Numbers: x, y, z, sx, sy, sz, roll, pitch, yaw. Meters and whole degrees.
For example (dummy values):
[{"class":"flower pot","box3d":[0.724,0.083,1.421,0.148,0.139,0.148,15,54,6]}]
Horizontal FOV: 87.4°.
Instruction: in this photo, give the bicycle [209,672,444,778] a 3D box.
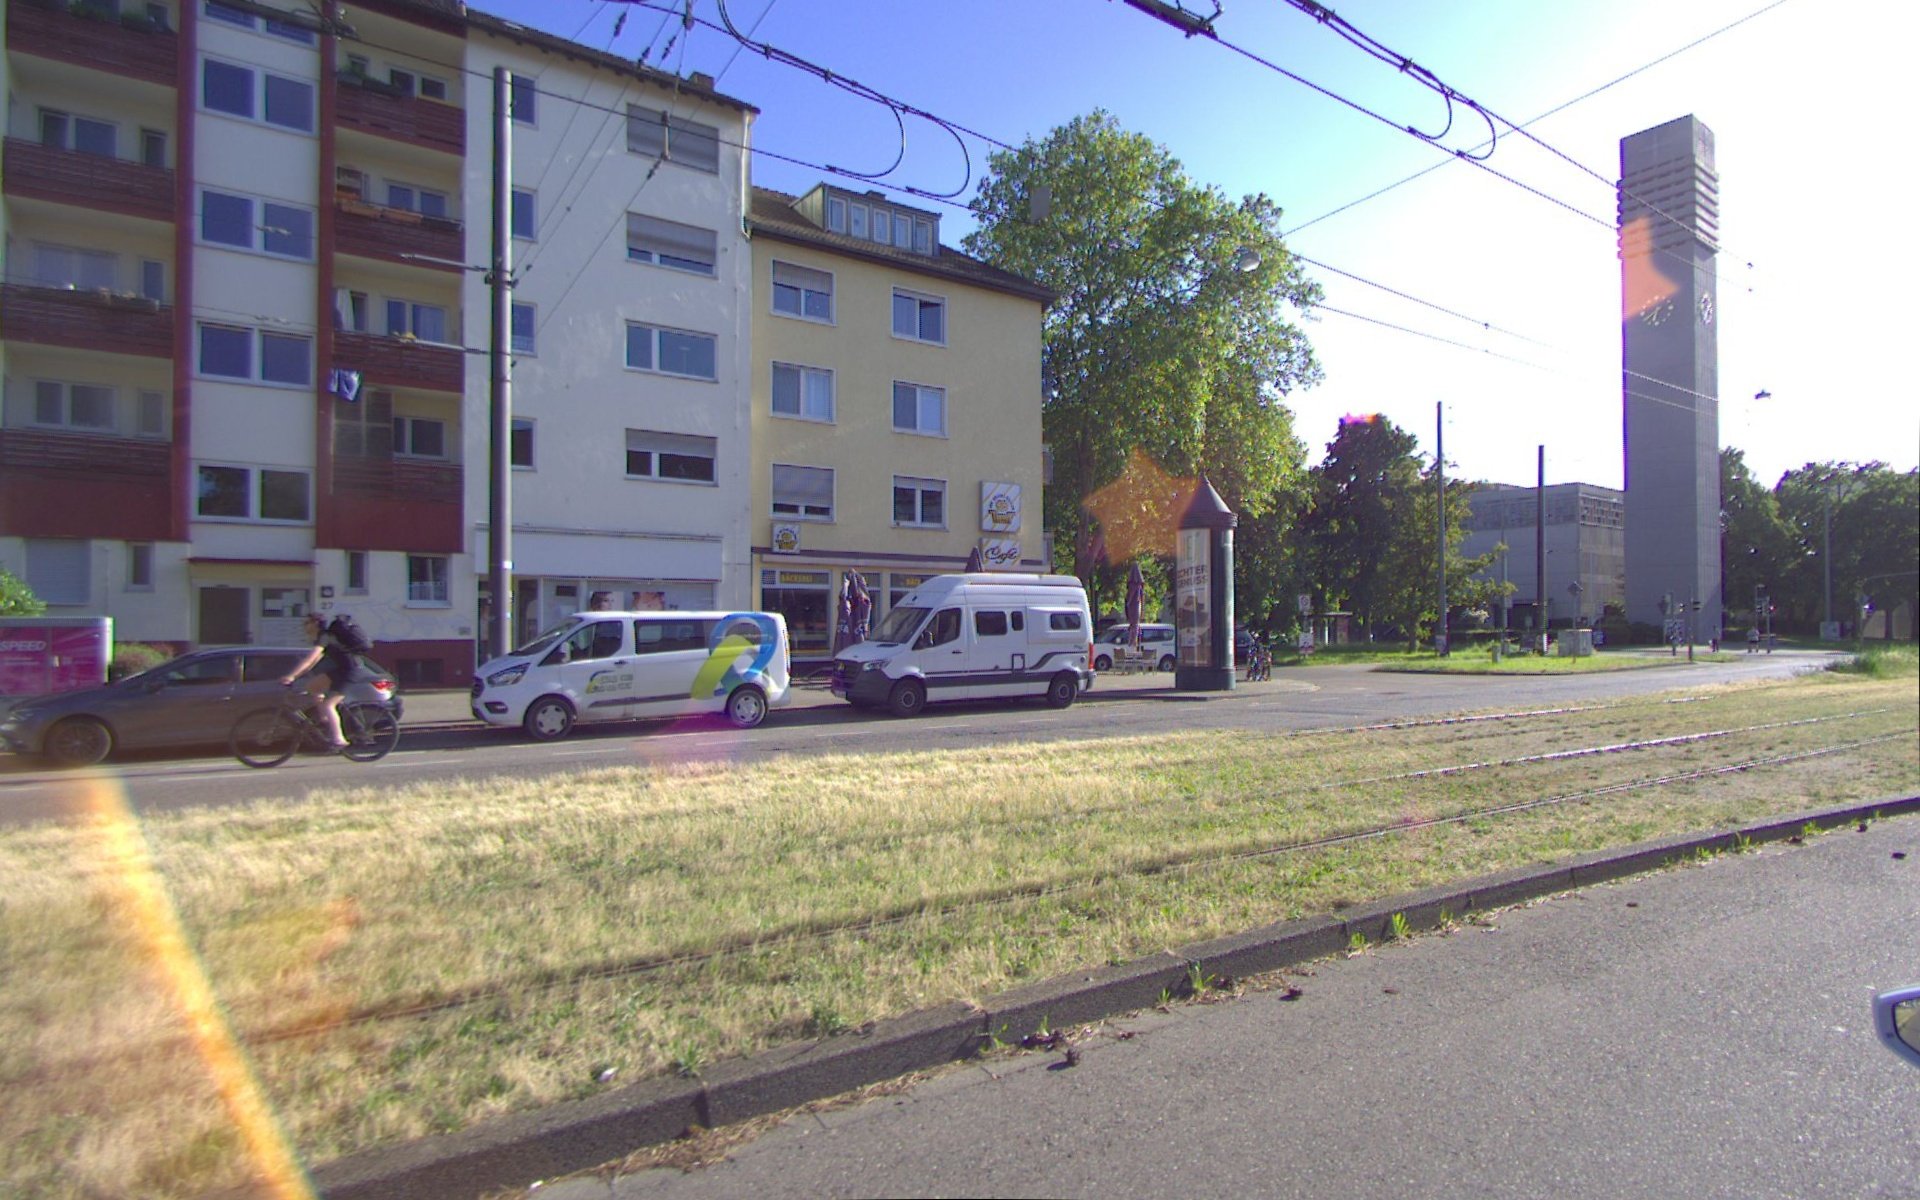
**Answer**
[{"class":"bicycle","box3d":[-7.958,1.534,12.750,2.448,1.161,0.764,1,-4,-34]}]

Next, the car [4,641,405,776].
[{"class":"car","box3d":[-10.344,1.394,14.137,4.285,1.535,1.683,1,-1,-36]}]

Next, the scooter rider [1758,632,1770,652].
[{"class":"scooter rider","box3d":[51.602,2.686,64.486,0.520,1.234,0.584,2,1,43]}]

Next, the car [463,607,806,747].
[{"class":"car","box3d":[-5.518,1.188,17.322,5.312,2.048,2.021,1,1,-33]}]

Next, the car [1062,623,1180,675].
[{"class":"car","box3d":[6.090,1.829,38.097,3.938,1.851,1.991,1,1,-19]}]

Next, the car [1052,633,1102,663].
[{"class":"car","box3d":[7.134,2.892,61.466,1.720,1.706,3.989,-1,-1,-14]}]

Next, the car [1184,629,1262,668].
[{"class":"car","box3d":[11.944,2.174,45.833,1.720,1.622,3.989,-1,-1,-14]}]

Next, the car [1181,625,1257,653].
[{"class":"car","box3d":[13.666,2.070,53.051,3.588,1.399,1.640,1,1,-16]}]

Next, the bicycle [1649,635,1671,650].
[{"class":"bicycle","box3d":[49.816,3.038,71.493,1.661,1.060,0.489,1,1,-26]}]

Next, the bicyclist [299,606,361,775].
[{"class":"bicyclist","box3d":[-7.986,1.110,12.737,0.641,2.041,0.768,0,1,-33]}]

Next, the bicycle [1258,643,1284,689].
[{"class":"bicycle","box3d":[9.406,1.976,30.324,0.509,1.268,2.089,1,-1,23]}]

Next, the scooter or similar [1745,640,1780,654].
[{"class":"scooter or similar","box3d":[51.567,3.023,64.515,1.715,0.911,0.560,-2,-2,42]}]

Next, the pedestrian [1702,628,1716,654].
[{"class":"pedestrian","box3d":[49.463,2.725,66.323,0.736,1.689,0.442,1,1,-24]}]

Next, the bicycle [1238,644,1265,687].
[{"class":"bicycle","box3d":[8.816,1.962,30.352,0.509,1.199,2.089,1,-1,23]}]

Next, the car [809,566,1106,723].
[{"class":"car","box3d":[0.067,0.855,21.155,6.160,2.907,2.021,1,0,-33]}]
